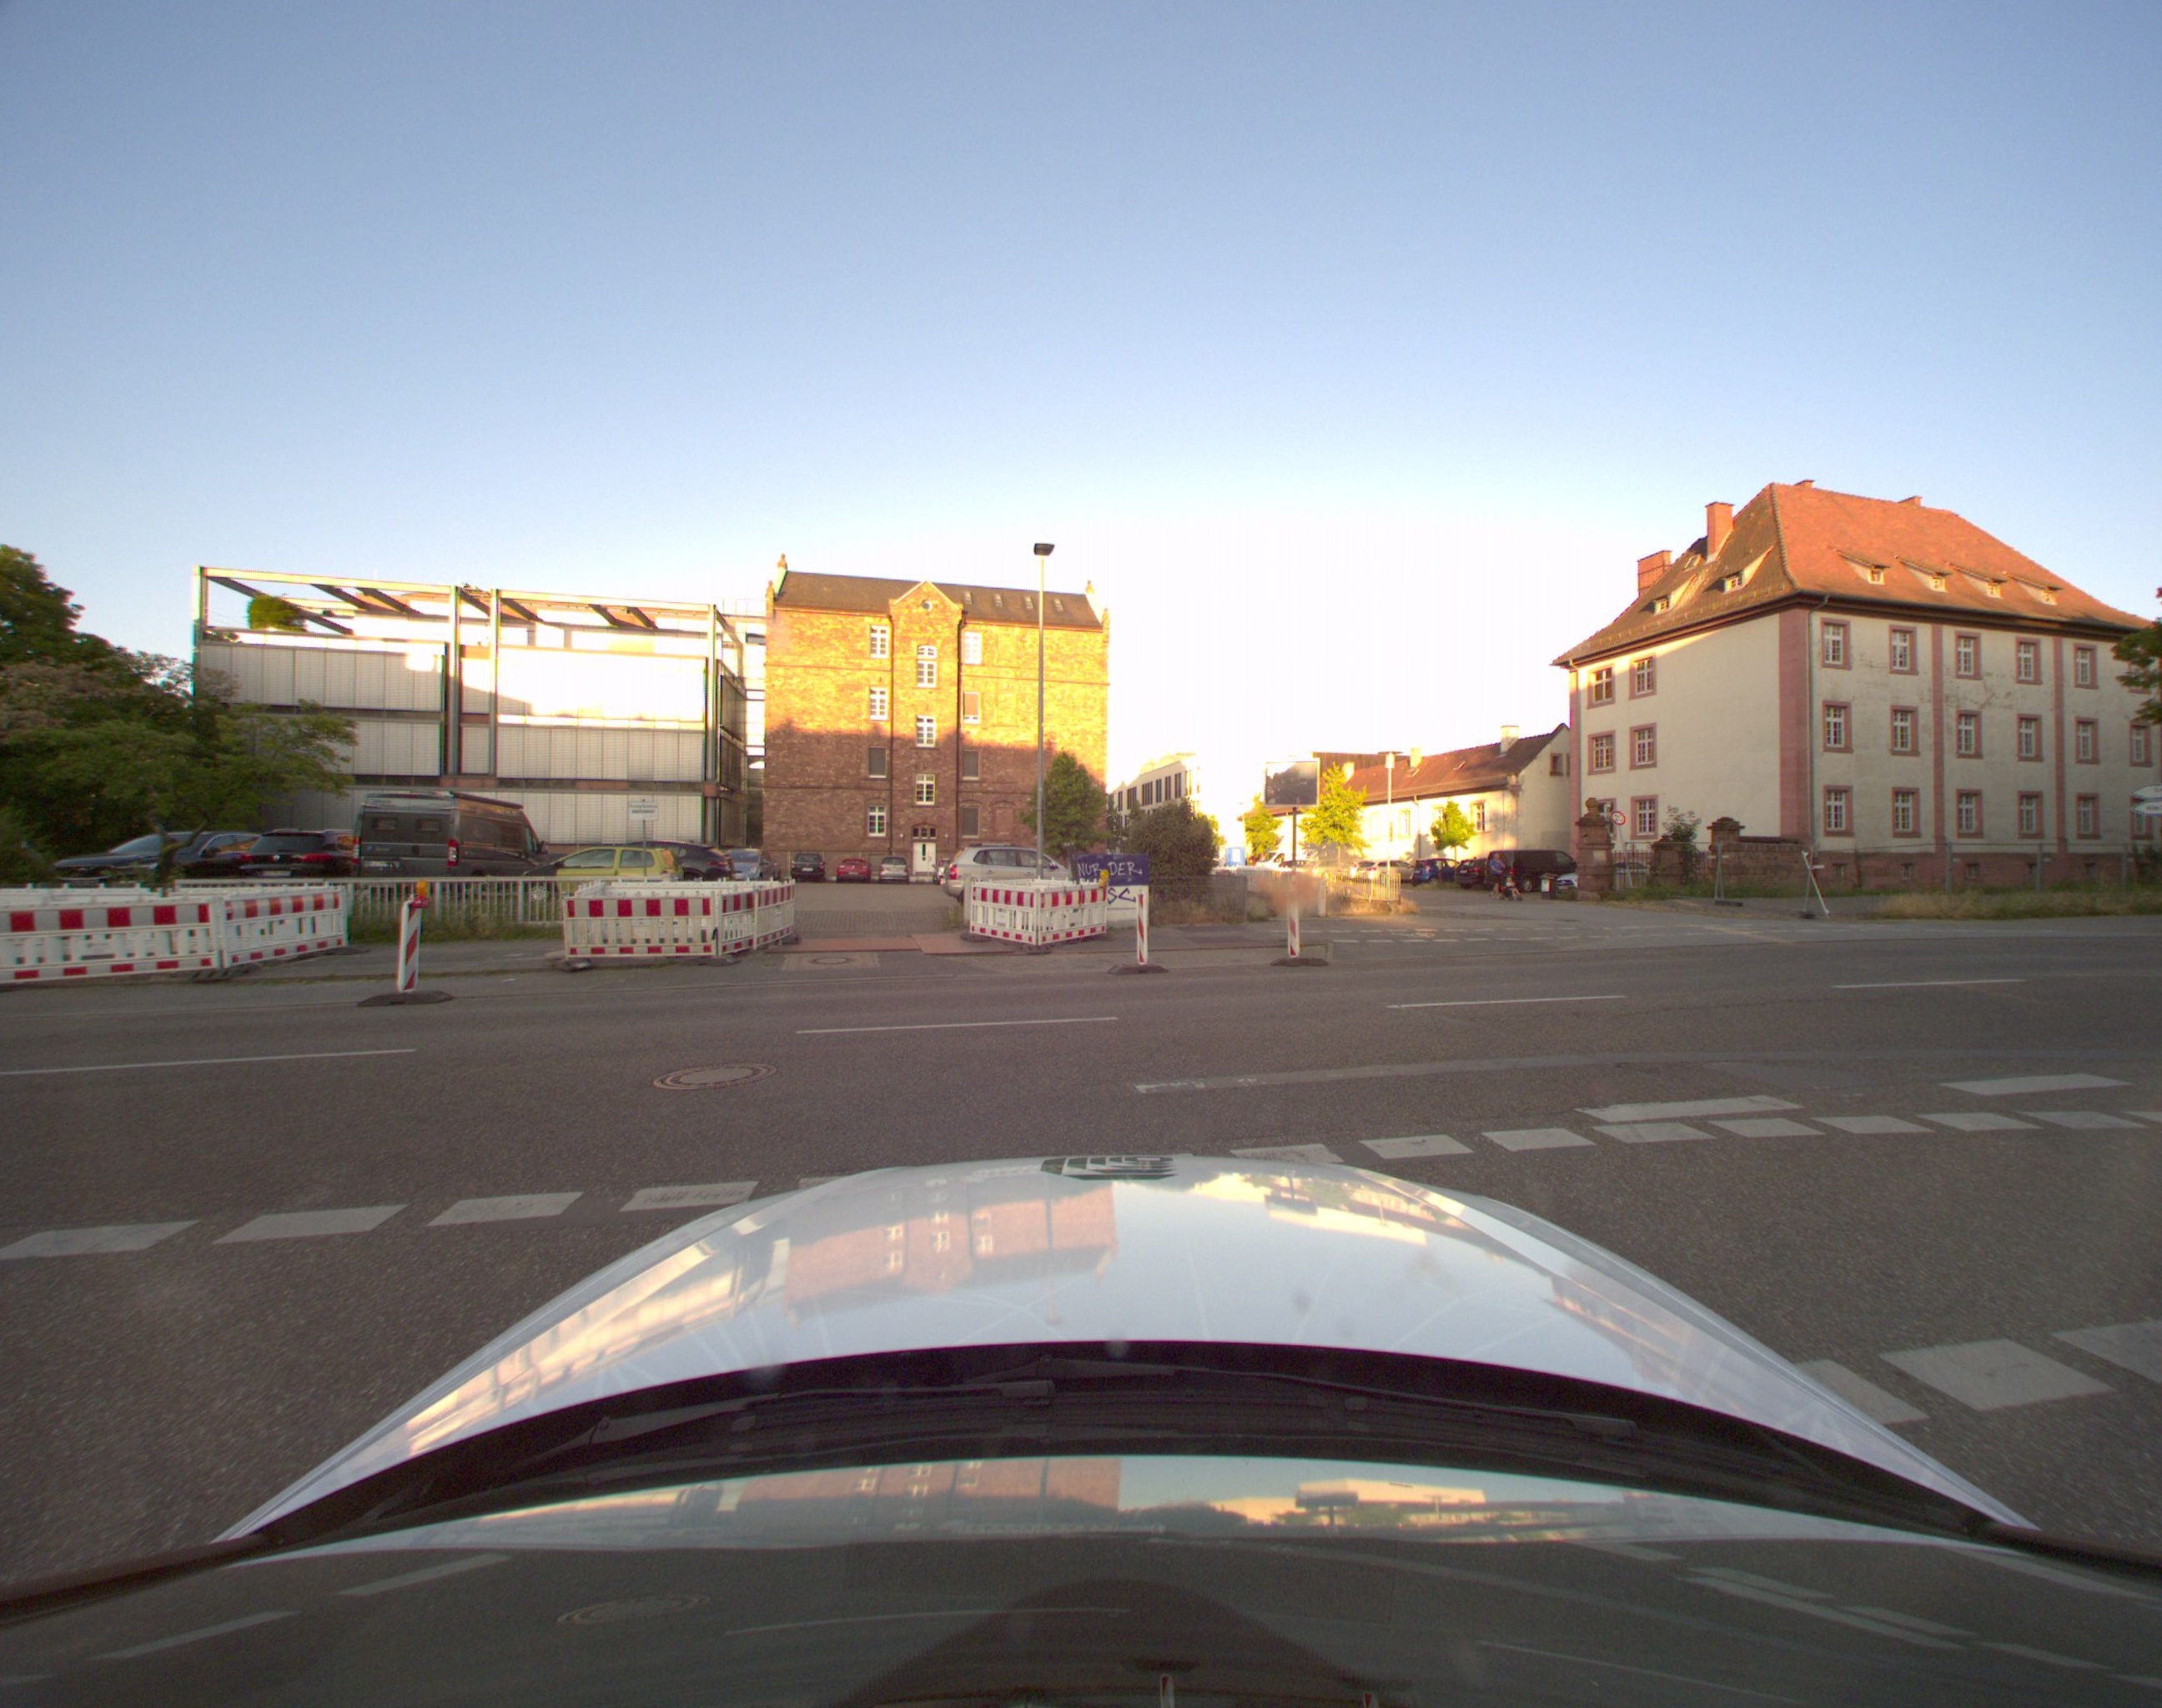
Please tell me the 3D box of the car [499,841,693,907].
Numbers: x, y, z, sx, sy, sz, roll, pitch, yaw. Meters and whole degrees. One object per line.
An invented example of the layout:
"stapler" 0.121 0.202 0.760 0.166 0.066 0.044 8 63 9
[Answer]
"car" -11.542 0.446 19.615 3.634 1.503 1.631 0 0 -12

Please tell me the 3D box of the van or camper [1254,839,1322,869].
"van or camper" 16.048 0.023 63.248 4.974 2.240 1.677 0 -1 -17

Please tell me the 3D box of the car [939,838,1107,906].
"car" -1.579 0.430 21.789 4.275 1.708 1.694 0 0 -15

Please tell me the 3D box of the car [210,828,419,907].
"car" -18.250 0.278 19.689 1.997 1.692 3.980 0 0 -15

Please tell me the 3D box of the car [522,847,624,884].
"car" -19.390 0.397 31.318 1.941 1.305 4.346 0 0 -13

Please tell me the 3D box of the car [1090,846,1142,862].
"car" 2.904 0.019 67.372 3.993 1.313 1.868 0 0 -14

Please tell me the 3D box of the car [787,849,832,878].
"car" -15.022 0.495 45.234 1.898 1.537 4.161 0 0 -13

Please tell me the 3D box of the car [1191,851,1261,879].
"car" 8.611 0.653 48.287 3.749 1.603 1.677 0 0 -17

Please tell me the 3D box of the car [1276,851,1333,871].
"car" 16.436 0.509 59.954 3.749 1.445 1.677 0 -1 -17

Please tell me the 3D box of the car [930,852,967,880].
"car" -7.658 0.632 46.716 1.898 1.537 4.161 0 0 -13

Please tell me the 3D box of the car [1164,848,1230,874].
"car" 7.241 0.458 51.025 3.749 1.603 1.677 0 -1 -17

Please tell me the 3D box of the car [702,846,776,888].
"car" -13.775 0.477 33.048 1.995 1.576 4.346 0 0 -13

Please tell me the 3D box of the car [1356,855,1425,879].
"car" 18.819 0.772 49.537 3.749 1.445 1.677 0 -1 -17

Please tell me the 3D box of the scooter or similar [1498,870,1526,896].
"scooter or similar" 15.681 1.049 29.648 0.514 0.890 0.803 0 -1 -13

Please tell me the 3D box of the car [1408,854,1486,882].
"car" 20.212 0.750 44.976 3.749 1.529 1.677 0 -1 -17

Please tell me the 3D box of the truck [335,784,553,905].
"truck" -15.569 -0.212 20.370 2.336 2.617 4.952 0 0 -12

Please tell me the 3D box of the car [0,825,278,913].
"car" -20.695 0.283 18.232 1.997 1.727 4.279 0 0 -15

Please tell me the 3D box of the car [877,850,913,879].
"car" -10.431 0.570 45.818 1.898 1.537 4.161 0 0 -13

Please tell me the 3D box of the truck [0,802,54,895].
"truck" -25.175 -0.132 17.007 2.105 2.090 4.497 0 0 -10

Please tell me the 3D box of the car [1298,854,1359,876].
"car" 16.991 0.762 55.921 3.749 1.445 1.677 0 -1 -17

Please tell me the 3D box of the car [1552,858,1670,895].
"car" 21.664 0.877 33.335 3.996 1.459 1.989 0 -1 -17

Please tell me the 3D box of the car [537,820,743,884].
"car" -11.702 -0.059 21.912 4.586 1.638 1.569 0 0 -12

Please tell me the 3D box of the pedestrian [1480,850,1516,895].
"pedestrian" 15.657 0.683 30.579 0.750 1.642 1.010 0 -1 -12

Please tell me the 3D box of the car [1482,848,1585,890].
"car" 21.085 0.678 38.009 3.996 1.859 1.989 0 -1 -17

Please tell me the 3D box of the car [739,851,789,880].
"car" -17.267 0.597 44.488 1.898 1.537 4.161 0 0 -13

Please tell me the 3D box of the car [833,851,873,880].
"car" -12.672 0.623 45.376 1.898 1.537 4.161 0 0 -13

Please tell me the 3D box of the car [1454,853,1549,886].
"car" 20.981 0.746 40.647 3.996 1.573 1.989 0 -1 -17

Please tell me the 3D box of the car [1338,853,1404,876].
"car" 18.566 0.671 52.173 3.749 1.445 1.677 0 -1 -17
